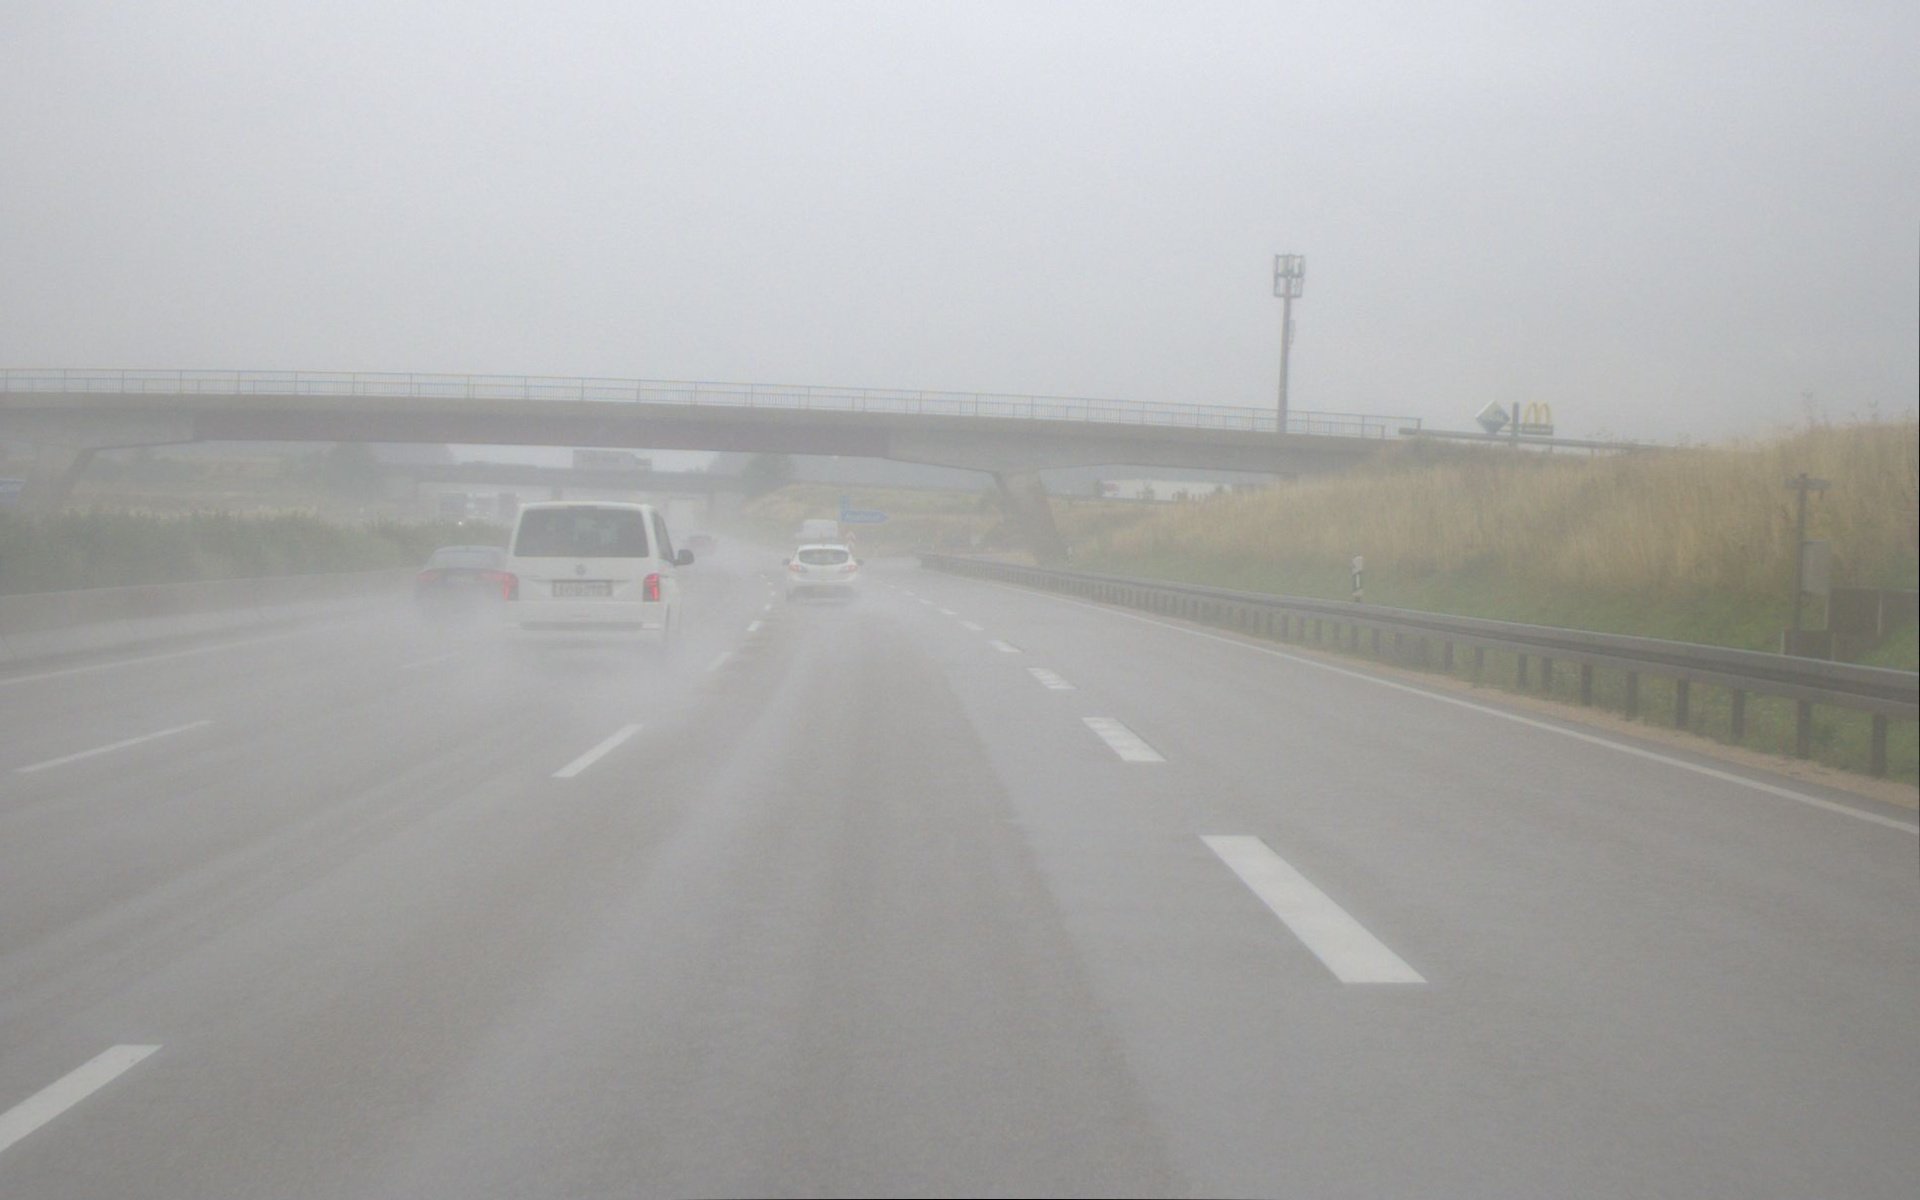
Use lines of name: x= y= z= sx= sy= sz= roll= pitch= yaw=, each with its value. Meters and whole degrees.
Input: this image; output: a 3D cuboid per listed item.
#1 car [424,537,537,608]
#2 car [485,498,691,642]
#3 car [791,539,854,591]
car: x=-8.791 y=-0.522 z=63.239 sx=1.468 sy=1.253 sz=3.340 roll=1 pitch=1 yaw=2
car: x=-4.337 y=-0.368 z=40.622 sx=1.897 sy=1.580 sz=4.000 roll=1 pitch=1 yaw=1
car: x=-3.307 y=-0.844 z=82.180 sx=1.467 sy=1.204 sz=2.992 roll=1 pitch=1 yaw=-3
